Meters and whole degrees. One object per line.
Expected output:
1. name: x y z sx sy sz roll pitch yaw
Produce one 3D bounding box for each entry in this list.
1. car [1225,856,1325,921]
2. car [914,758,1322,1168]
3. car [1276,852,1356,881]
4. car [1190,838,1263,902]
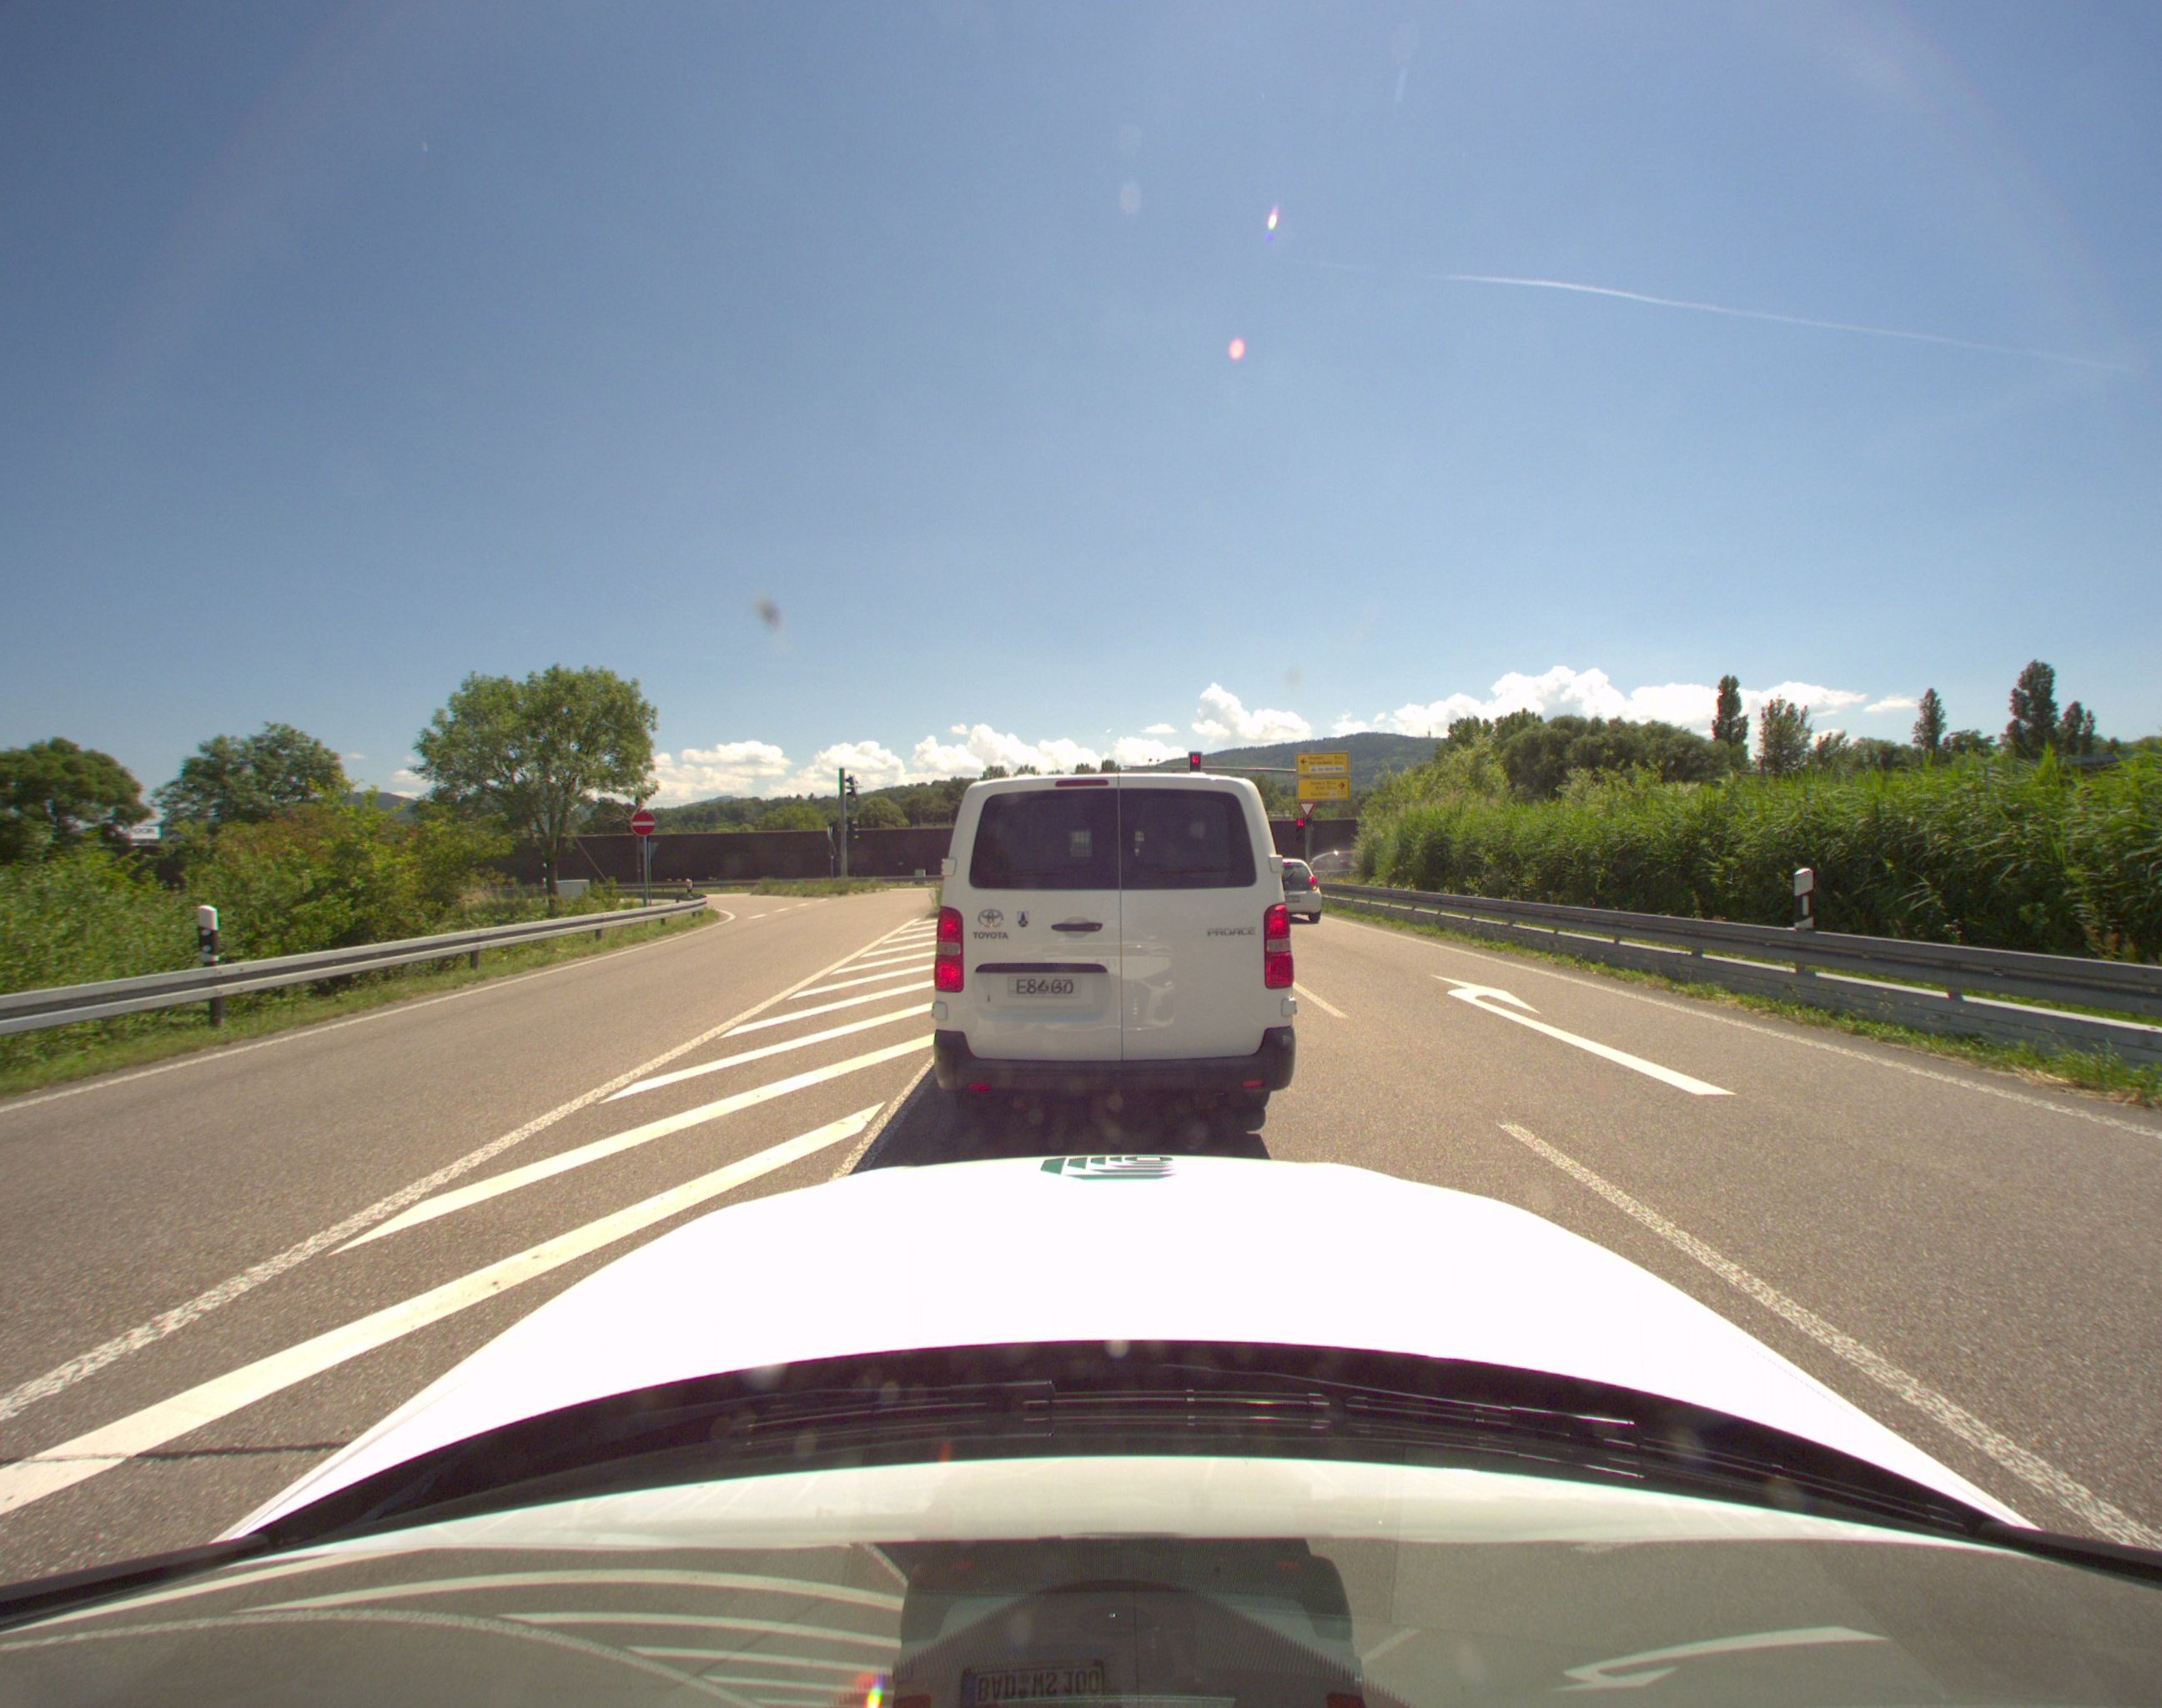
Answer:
1. car: 4.573 0.776 19.633 1.650 1.431 3.366 -1 0 1
2. car: 0.214 0.521 5.786 1.880 1.886 4.001 -1 0 1
3. car: 14.283 0.739 49.641 4.298 1.656 1.999 -1 -1 -2
4. car: 4.939 0.529 28.233 1.920 2.000 4.842 -1 0 4
